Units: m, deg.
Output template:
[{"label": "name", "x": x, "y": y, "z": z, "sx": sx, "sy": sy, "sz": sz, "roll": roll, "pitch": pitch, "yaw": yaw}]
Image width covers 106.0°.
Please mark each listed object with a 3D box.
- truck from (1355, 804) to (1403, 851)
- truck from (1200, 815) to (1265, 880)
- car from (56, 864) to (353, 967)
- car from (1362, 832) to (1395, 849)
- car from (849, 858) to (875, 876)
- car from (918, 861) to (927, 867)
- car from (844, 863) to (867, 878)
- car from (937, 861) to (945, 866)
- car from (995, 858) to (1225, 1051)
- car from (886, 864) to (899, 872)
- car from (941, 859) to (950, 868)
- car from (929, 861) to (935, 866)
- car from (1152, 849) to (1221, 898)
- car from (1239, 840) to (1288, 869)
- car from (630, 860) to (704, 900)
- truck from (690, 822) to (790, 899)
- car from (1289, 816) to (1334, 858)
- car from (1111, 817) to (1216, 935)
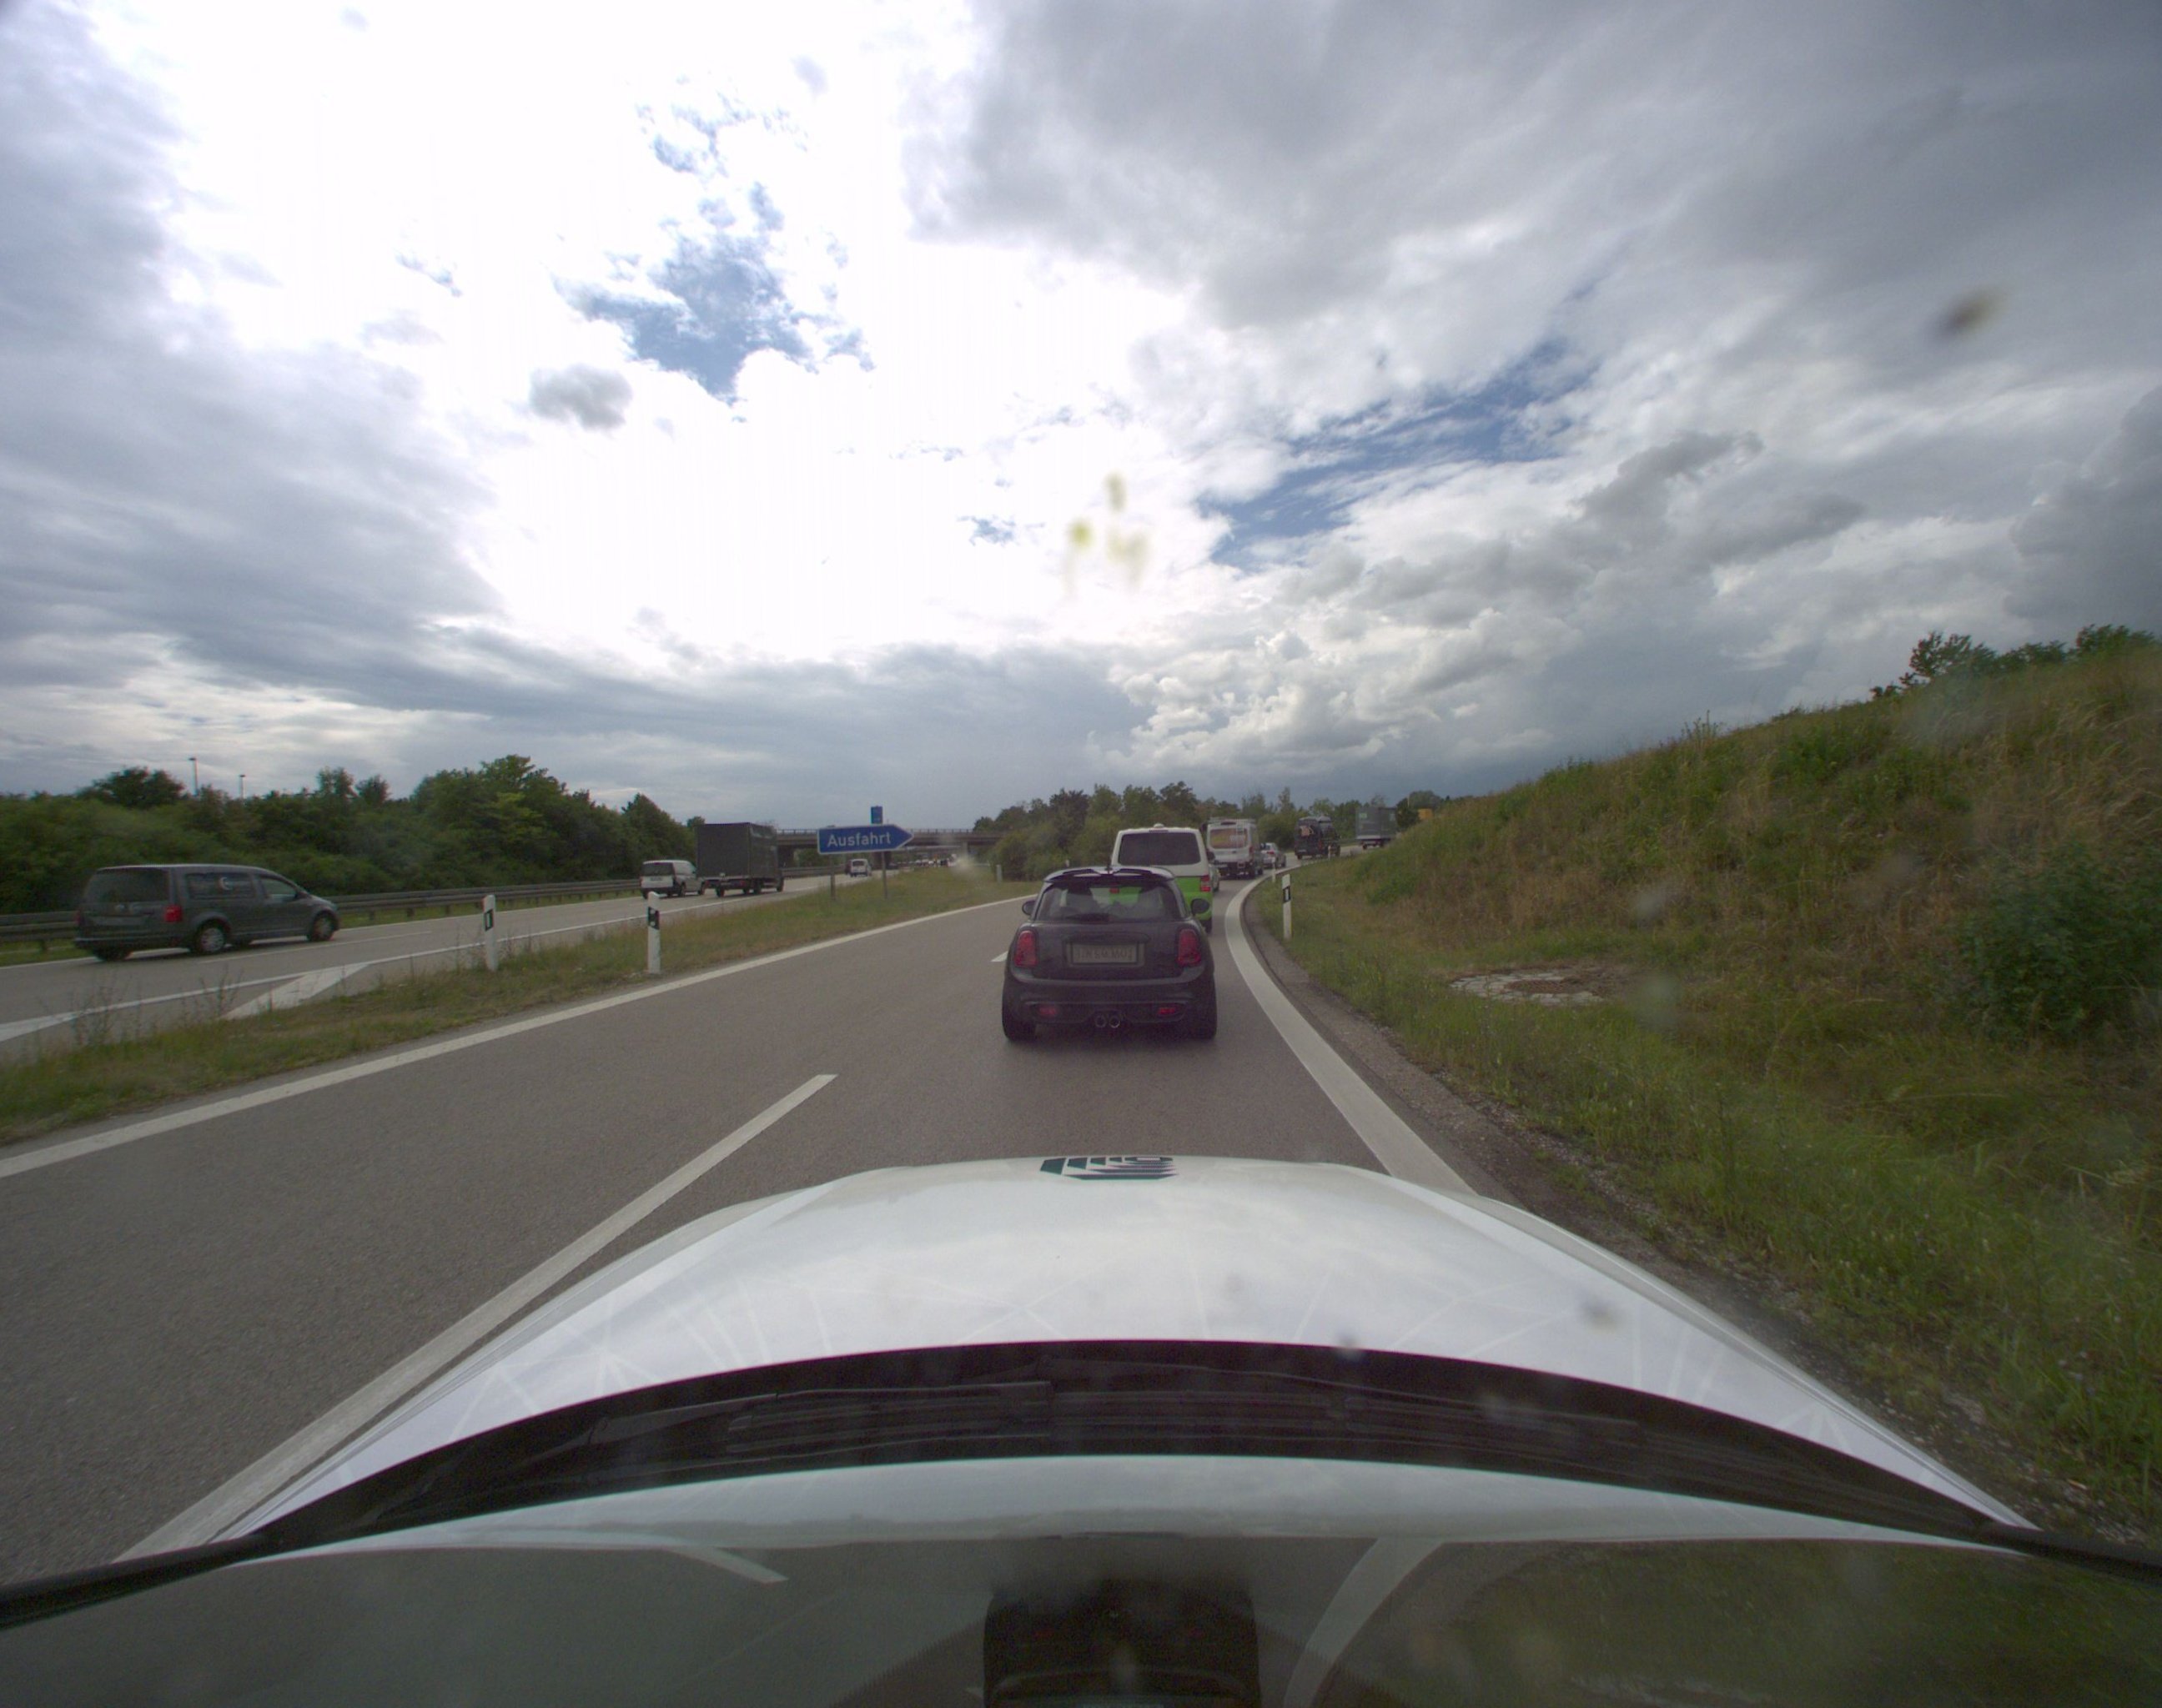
[{"label": "truck", "x": 26.415, "y": -2.281, "z": 71.965, "sx": 2.207, "sy": 3.907, "sz": 6.054, "roll": -1, "pitch": -1, "yaw": 37}, {"label": "truck", "x": 6.936, "y": -0.315, "z": 36.762, "sx": 2.161, "sy": 2.658, "sz": 5.132, "roll": -2, "pitch": 1, "yaw": 18}, {"label": "car", "x": -17.868, "y": 1.138, "z": 16.989, "sx": 1.844, "sy": 1.758, "sz": 4.324, "roll": -2, "pitch": 0, "yaw": -8}, {"label": "car", "x": 28.740, "y": -1.243, "z": 78.535, "sx": 1.778, "sy": 1.556, "sz": 3.986, "roll": -2, "pitch": -1, "yaw": 38}, {"label": "car", "x": -22.840, "y": 1.298, "z": 85.018, "sx": 1.874, "sy": 1.751, "sz": 4.476, "roll": -2, "pitch": 0, "yaw": -7}, {"label": "car", "x": -43.398, "y": 2.684, "z": 223.060, "sx": 1.778, "sy": 1.399, "sz": 4.296, "roll": -2, "pitch": 0, "yaw": -6}, {"label": "car", "x": -28.730, "y": 2.114, "z": 103.836, "sx": 1.992, "sy": 1.785, "sz": 5.398, "roll": -2, "pitch": 0, "yaw": -7}, {"label": "car", "x": -39.548, "y": 2.663, "z": 229.783, "sx": 1.778, "sy": 1.399, "sz": 4.540, "roll": -2, "pitch": 0, "yaw": -6}, {"label": "car", "x": 0.249, "y": 0.774, "z": 8.048, "sx": 1.721, "sy": 1.413, "sz": 3.725, "roll": -1, "pitch": 0, "yaw": 1}, {"label": "car", "x": -33.967, "y": 2.490, "z": 147.053, "sx": 1.720, "sy": 1.424, "sz": 4.785, "roll": -2, "pitch": 0, "yaw": -7}, {"label": "car", "x": -30.111, "y": 2.160, "z": 180.700, "sx": 1.993, "sy": 2.014, "sz": 3.987, "roll": 0, "pitch": -1, "yaw": -9}, {"label": "car", "x": -46.640, "y": 2.944, "z": 255.297, "sx": 1.779, "sy": 1.399, "sz": 4.293, "roll": -2, "pitch": 0, "yaw": -8}, {"label": "car", "x": 3.429, "y": 0.564, "z": 25.899, "sx": 1.750, "sy": 1.399, "sz": 3.738, "roll": -2, "pitch": 0, "yaw": 13}, {"label": "car", "x": 10.291, "y": 0.001, "z": 45.693, "sx": 1.849, "sy": 1.510, "sz": 4.023, "roll": -2, "pitch": 0, "yaw": 24}, {"label": "car", "x": -20.509, "y": 1.237, "z": 40.550, "sx": 1.992, "sy": 1.810, "sz": 3.990, "roll": -2, "pitch": 0, "yaw": -7}, {"label": "truck", "x": -16.724, "y": 0.331, "z": 40.533, "sx": 2.466, "sy": 3.371, "sz": 7.901, "roll": -3, "pitch": -1, "yaw": -8}, {"label": "car", "x": 16.034, "y": -1.151, "z": 56.496, "sx": 2.085, "sy": 2.796, "sz": 4.025, "roll": -1, "pitch": 0, "yaw": 29}, {"label": "car", "x": 1.693, "y": 0.386, "z": 16.040, "sx": 1.774, "sy": 2.013, "sz": 4.009, "roll": -1, "pitch": 0, "yaw": 8}]
